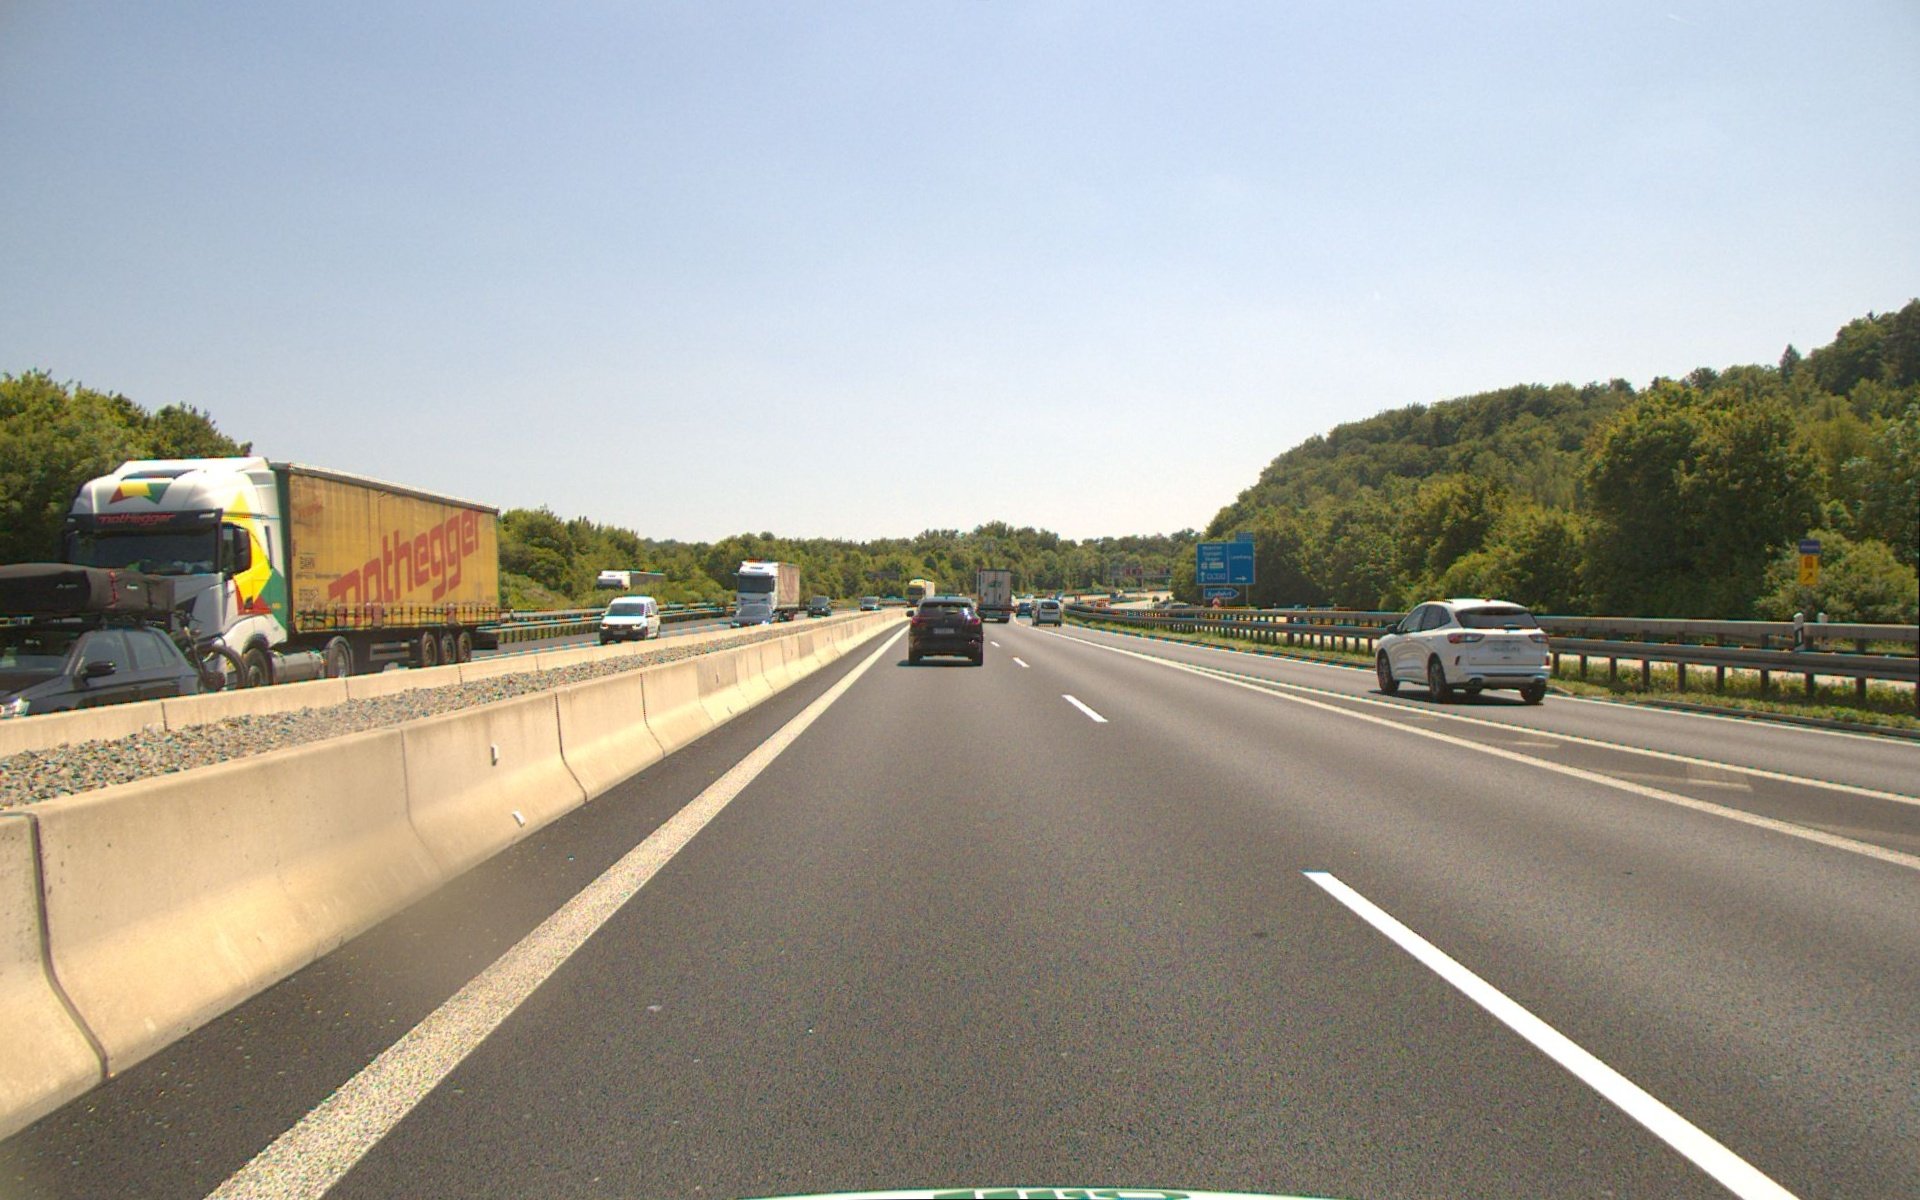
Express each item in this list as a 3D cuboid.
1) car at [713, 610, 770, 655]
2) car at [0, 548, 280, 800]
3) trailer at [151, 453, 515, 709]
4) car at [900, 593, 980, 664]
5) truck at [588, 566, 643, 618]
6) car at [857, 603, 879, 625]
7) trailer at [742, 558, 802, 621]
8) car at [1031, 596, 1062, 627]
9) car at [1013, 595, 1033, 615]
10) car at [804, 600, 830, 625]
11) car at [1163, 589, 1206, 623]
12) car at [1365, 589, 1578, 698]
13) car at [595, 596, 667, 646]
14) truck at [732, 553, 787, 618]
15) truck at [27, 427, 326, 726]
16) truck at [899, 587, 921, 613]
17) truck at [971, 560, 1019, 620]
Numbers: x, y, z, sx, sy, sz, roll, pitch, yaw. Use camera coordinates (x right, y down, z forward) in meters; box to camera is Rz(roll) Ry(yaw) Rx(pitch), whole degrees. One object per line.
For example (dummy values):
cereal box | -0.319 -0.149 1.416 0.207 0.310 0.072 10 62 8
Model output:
car | -9.358 1.369 71.225 1.944 1.858 4.824 1 0 -2
car | -8.637 0.617 16.078 1.879 2.049 5.345 -1 0 -1
trailer | -12.607 -0.277 35.265 2.613 4.348 13.811 1 0 -1
car | -0.528 0.674 40.357 1.744 1.605 3.997 1 0 -3
truck | -28.488 -0.610 137.026 3.154 4.116 6.638 1 -1 -1
car | -8.907 1.334 160.640 2.009 2.049 4.953 1 0 -1
trailer | -13.080 -0.668 116.024 2.850 4.116 12.061 1 0 -1
car | 6.098 0.773 116.435 1.952 2.049 4.000 -2 0 1
car | 6.891 0.564 180.504 1.952 2.049 4.002 1 -1 4
car | -12.498 1.101 145.086 1.953 2.049 4.484 1 -1 -1
car | 14.208 0.374 104.811 1.954 2.049 3.998 -1 0 -3
car | 8.650 0.711 28.405 1.954 1.691 4.463 1 0 -5
car | -12.766 0.812 64.445 1.706 1.858 4.904 1 0 1
truck | -12.959 -0.868 107.344 2.869 4.042 5.897 1 -1 -1
truck | -12.434 -0.333 26.691 2.651 4.363 4.551 1 -1 -2
truck | -7.595 0.027 253.569 2.691 3.820 4.869 1 -1 5
truck | 2.883 -0.716 131.697 2.968 4.496 12.025 1 0 5
